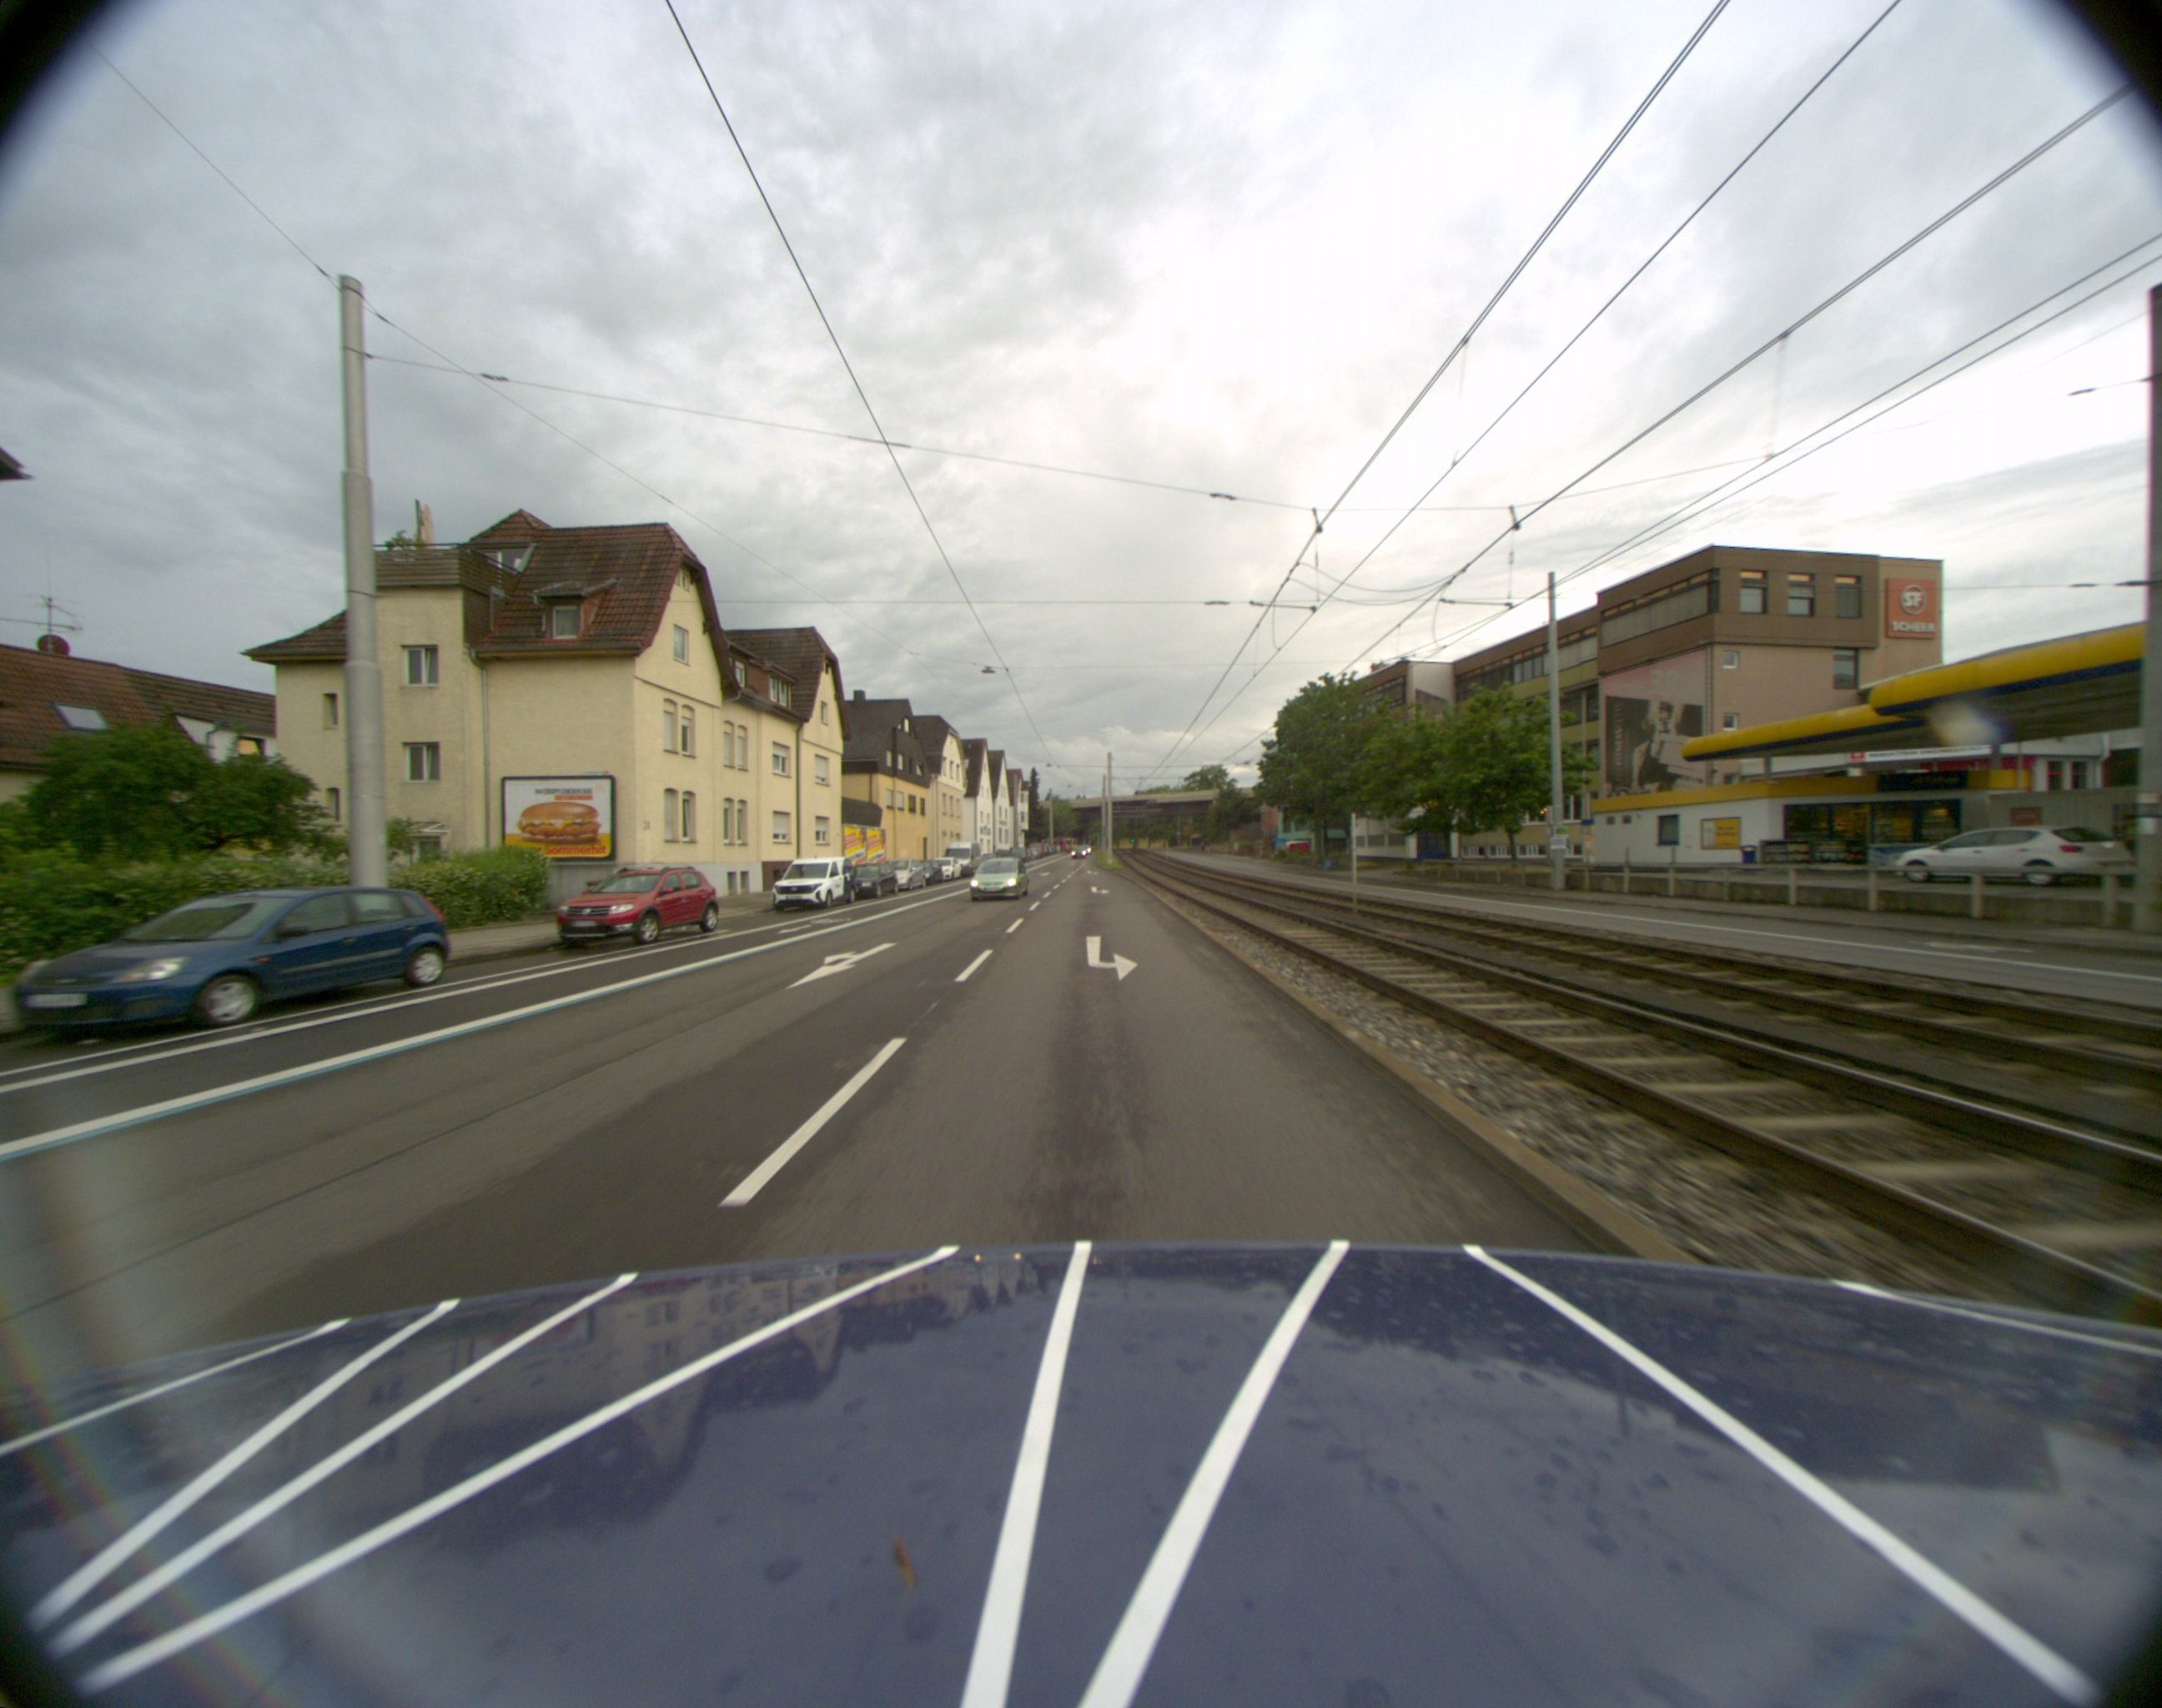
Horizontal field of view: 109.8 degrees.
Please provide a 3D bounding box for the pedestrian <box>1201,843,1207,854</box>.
[{"bbox_3d":[19.238,-0.855,118.869,0.747,1.636,1.021,-1,1,2],"label":"pedestrian"}]

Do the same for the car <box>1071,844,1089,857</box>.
[{"bbox_3d":[-0.113,-0.443,92.123,1.887,1.417,4.200,-2,1,3],"label":"car"}]

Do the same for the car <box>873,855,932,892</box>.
[{"bbox_3d":[-8.740,0.907,37.603,1.705,1.557,4.282,-2,1,2],"label":"car"}]

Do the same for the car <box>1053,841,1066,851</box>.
[{"bbox_3d":[-3.688,-1.394,129.181,1.726,1.539,4.200,-2,1,3],"label":"car"}]

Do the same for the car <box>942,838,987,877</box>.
[{"bbox_3d":[-8.134,0.176,53.626,2.045,2.485,5.920,-2,1,1],"label":"car"}]

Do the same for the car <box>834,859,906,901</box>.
[{"bbox_3d":[-8.848,1.041,32.228,1.690,1.503,4.137,-2,1,2],"label":"car"}]

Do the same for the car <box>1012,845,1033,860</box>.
[{"bbox_3d":[-6.498,-0.208,85.262,1.726,1.539,4.200,-2,1,3],"label":"car"}]

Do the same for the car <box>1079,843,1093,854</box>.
[{"bbox_3d":[0.752,-0.807,109.445,1.888,1.417,4.199,-2,1,0],"label":"car"}]

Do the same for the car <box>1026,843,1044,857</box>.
[{"bbox_3d":[-5.758,-0.511,95.925,1.726,1.539,4.200,-2,1,3],"label":"car"}]

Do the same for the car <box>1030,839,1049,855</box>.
[{"bbox_3d":[-5.525,-0.928,101.602,1.977,1.984,4.434,-2,1,2],"label":"car"}]

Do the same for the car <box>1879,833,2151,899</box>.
[{"bbox_3d":[23.109,0.234,19.089,1.775,1.407,4.074,-2,1,-2],"label":"car"}]

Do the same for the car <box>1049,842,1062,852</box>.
[{"bbox_3d":[-4.132,-1.210,123.408,1.726,1.539,4.200,-2,1,3],"label":"car"}]

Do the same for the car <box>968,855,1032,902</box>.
[{"bbox_3d":[-2.930,0.849,28.377,1.888,1.441,4.199,-2,1,0],"label":"car"}]

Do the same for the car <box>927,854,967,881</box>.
[{"bbox_3d":[-8.410,0.821,47.947,1.605,1.456,4.201,-2,1,2],"label":"car"}]

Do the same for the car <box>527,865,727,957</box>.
[{"bbox_3d":[-9.746,1.140,16.748,1.841,1.618,4.099,-2,1,1],"label":"car"}]

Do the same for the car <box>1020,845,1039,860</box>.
[{"bbox_3d":[-6.128,-0.199,90.511,1.726,1.539,4.200,-2,1,3],"label":"car"}]

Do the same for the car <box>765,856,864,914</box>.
[{"bbox_3d":[-9.193,0.994,26.650,1.852,1.746,4.521,-2,0,-1],"label":"car"}]

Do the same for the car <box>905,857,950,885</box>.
[{"bbox_3d":[-8.671,0.919,43.136,1.605,1.394,3.792,-2,1,2],"label":"car"}]

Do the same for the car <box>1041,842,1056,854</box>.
[{"bbox_3d":[-4.813,-0.911,113.175,1.726,1.539,4.200,-2,1,3],"label":"car"}]

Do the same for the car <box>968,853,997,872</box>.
[{"bbox_3d":[-7.819,0.623,60.468,1.726,1.338,4.083,-2,1,0],"label":"car"}]

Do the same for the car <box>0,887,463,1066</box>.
[{"bbox_3d":[-9.850,1.244,9.091,1.671,1.435,3.928,-2,1,-1],"label":"car"}]
